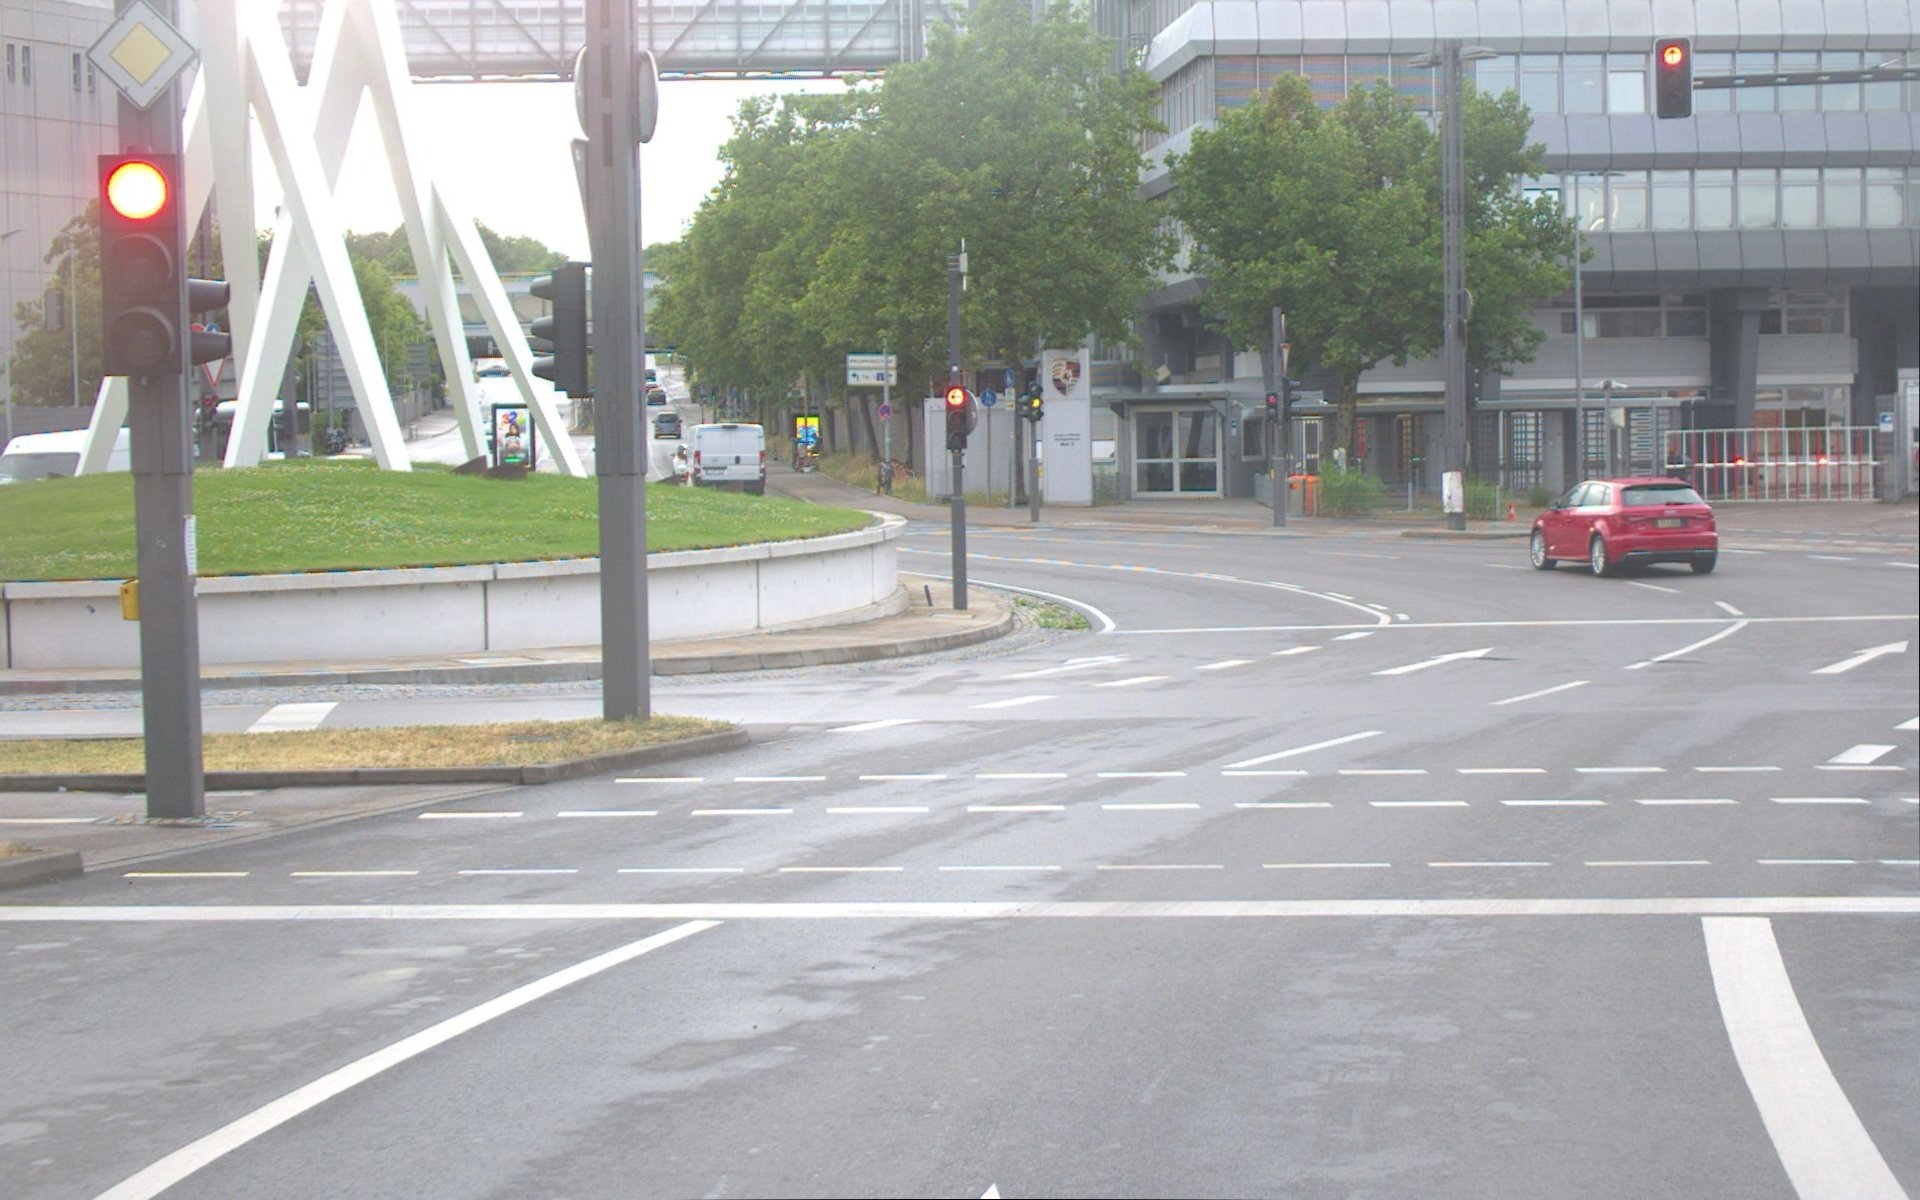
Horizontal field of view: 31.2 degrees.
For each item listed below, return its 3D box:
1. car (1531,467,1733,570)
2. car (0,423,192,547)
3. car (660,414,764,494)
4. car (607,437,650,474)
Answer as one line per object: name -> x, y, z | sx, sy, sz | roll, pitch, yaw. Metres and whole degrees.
car -> 9.958, -1.192, 51.218 | 1.772, 1.459, 3.733 | -1, 1, -9
car -> -17.908, -2.370, 70.998 | 1.994, 2.438, 5.424 | -1, 2, 10
car -> -7.155, -4.168, 98.762 | 2.232, 2.100, 4.956 | -1, 0, -13
car -> -12.489, -5.437, 129.568 | 1.557, 1.284, 3.414 | -1, 1, -5
